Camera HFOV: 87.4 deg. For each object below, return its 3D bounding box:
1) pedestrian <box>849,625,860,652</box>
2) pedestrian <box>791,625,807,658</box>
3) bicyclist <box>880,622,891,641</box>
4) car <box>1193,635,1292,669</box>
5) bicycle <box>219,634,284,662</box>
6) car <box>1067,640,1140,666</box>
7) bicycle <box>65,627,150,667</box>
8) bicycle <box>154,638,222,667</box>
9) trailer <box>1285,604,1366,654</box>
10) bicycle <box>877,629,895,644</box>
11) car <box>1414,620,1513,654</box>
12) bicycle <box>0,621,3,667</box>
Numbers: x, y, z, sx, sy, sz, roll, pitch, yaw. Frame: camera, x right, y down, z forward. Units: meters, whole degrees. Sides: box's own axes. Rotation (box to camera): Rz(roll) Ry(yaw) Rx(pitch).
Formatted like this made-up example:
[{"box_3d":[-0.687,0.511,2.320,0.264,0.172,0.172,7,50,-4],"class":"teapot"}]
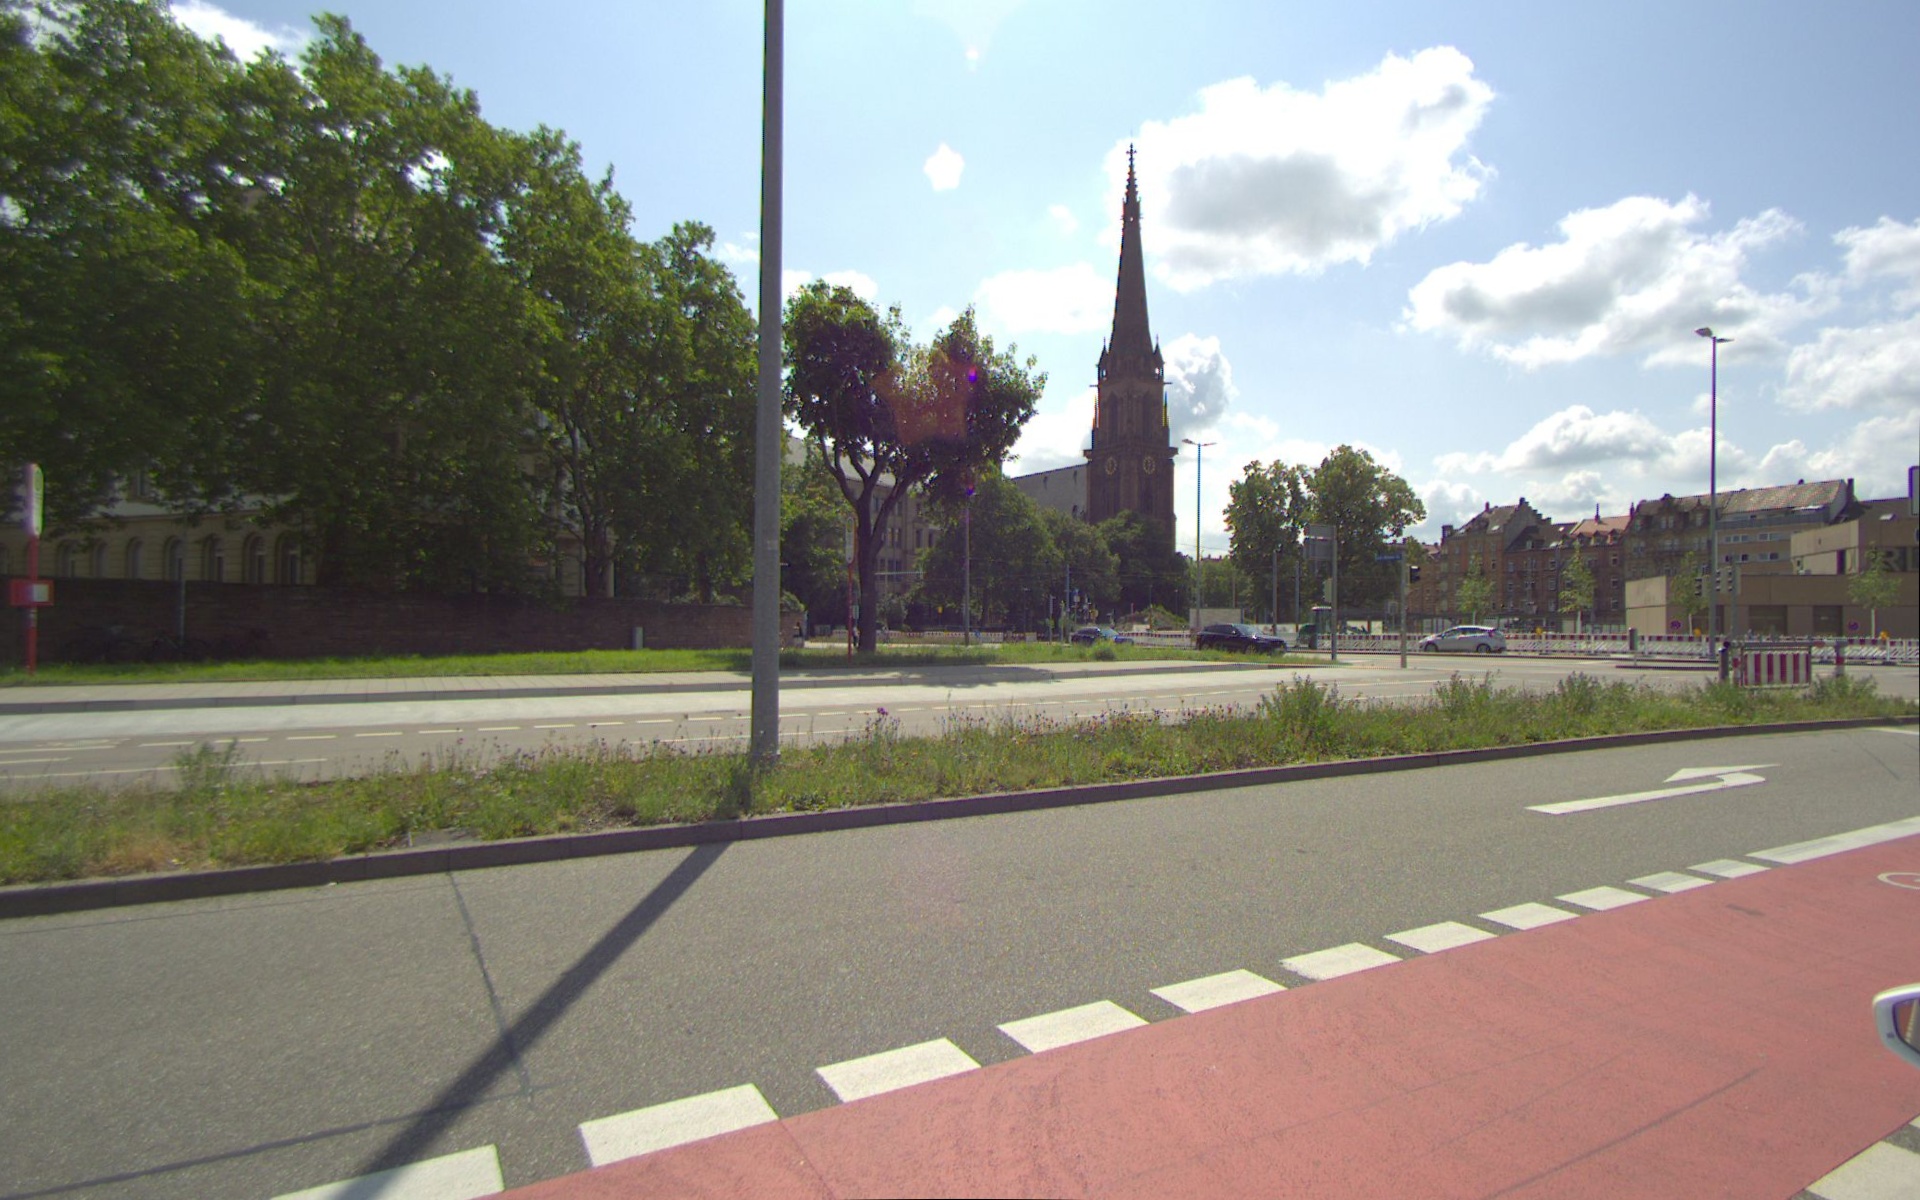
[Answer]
[{"box_3d":[-7.373,2.684,69.978,0.561,1.844,0.436,1,0,42],"class":"pedestrian"},{"box_3d":[-8.570,2.207,53.497,0.479,1.718,0.679,2,0,20],"class":"pedestrian"},{"box_3d":[-6.037,2.549,81.550,0.659,1.553,0.642,2,0,-28],"class":"bicyclist"},{"box_3d":[13.482,2.444,48.174,1.977,1.505,4.473,1,-2,-31],"class":"car"},{"box_3d":[-20.950,1.421,29.723,0.391,0.799,1.541,0,-2,32],"class":"bicycle"},{"box_3d":[8.970,3.295,63.229,1.980,1.505,4.623,1,-2,-35],"class":"car"},{"box_3d":[-22.747,1.237,26.821,0.391,1.043,1.683,0,-1,32],"class":"bicycle"},{"box_3d":[-21.788,1.476,28.380,0.391,0.799,1.463,0,-2,32],"class":"bicycle"},{"box_3d":[22.637,1.771,62.380,4.278,2.952,2.001,2,0,5],"class":"trailer"},{"box_3d":[-6.019,2.950,81.488,0.659,1.161,2.053,2,0,-28],"class":"bicycle"},{"box_3d":[24.928,1.820,49.793,3.962,1.528,1.988,1,-1,44],"class":"car"},{"box_3d":[-24.502,1.065,24.212,0.391,1.152,2.033,0,-2,35],"class":"bicycle"}]
